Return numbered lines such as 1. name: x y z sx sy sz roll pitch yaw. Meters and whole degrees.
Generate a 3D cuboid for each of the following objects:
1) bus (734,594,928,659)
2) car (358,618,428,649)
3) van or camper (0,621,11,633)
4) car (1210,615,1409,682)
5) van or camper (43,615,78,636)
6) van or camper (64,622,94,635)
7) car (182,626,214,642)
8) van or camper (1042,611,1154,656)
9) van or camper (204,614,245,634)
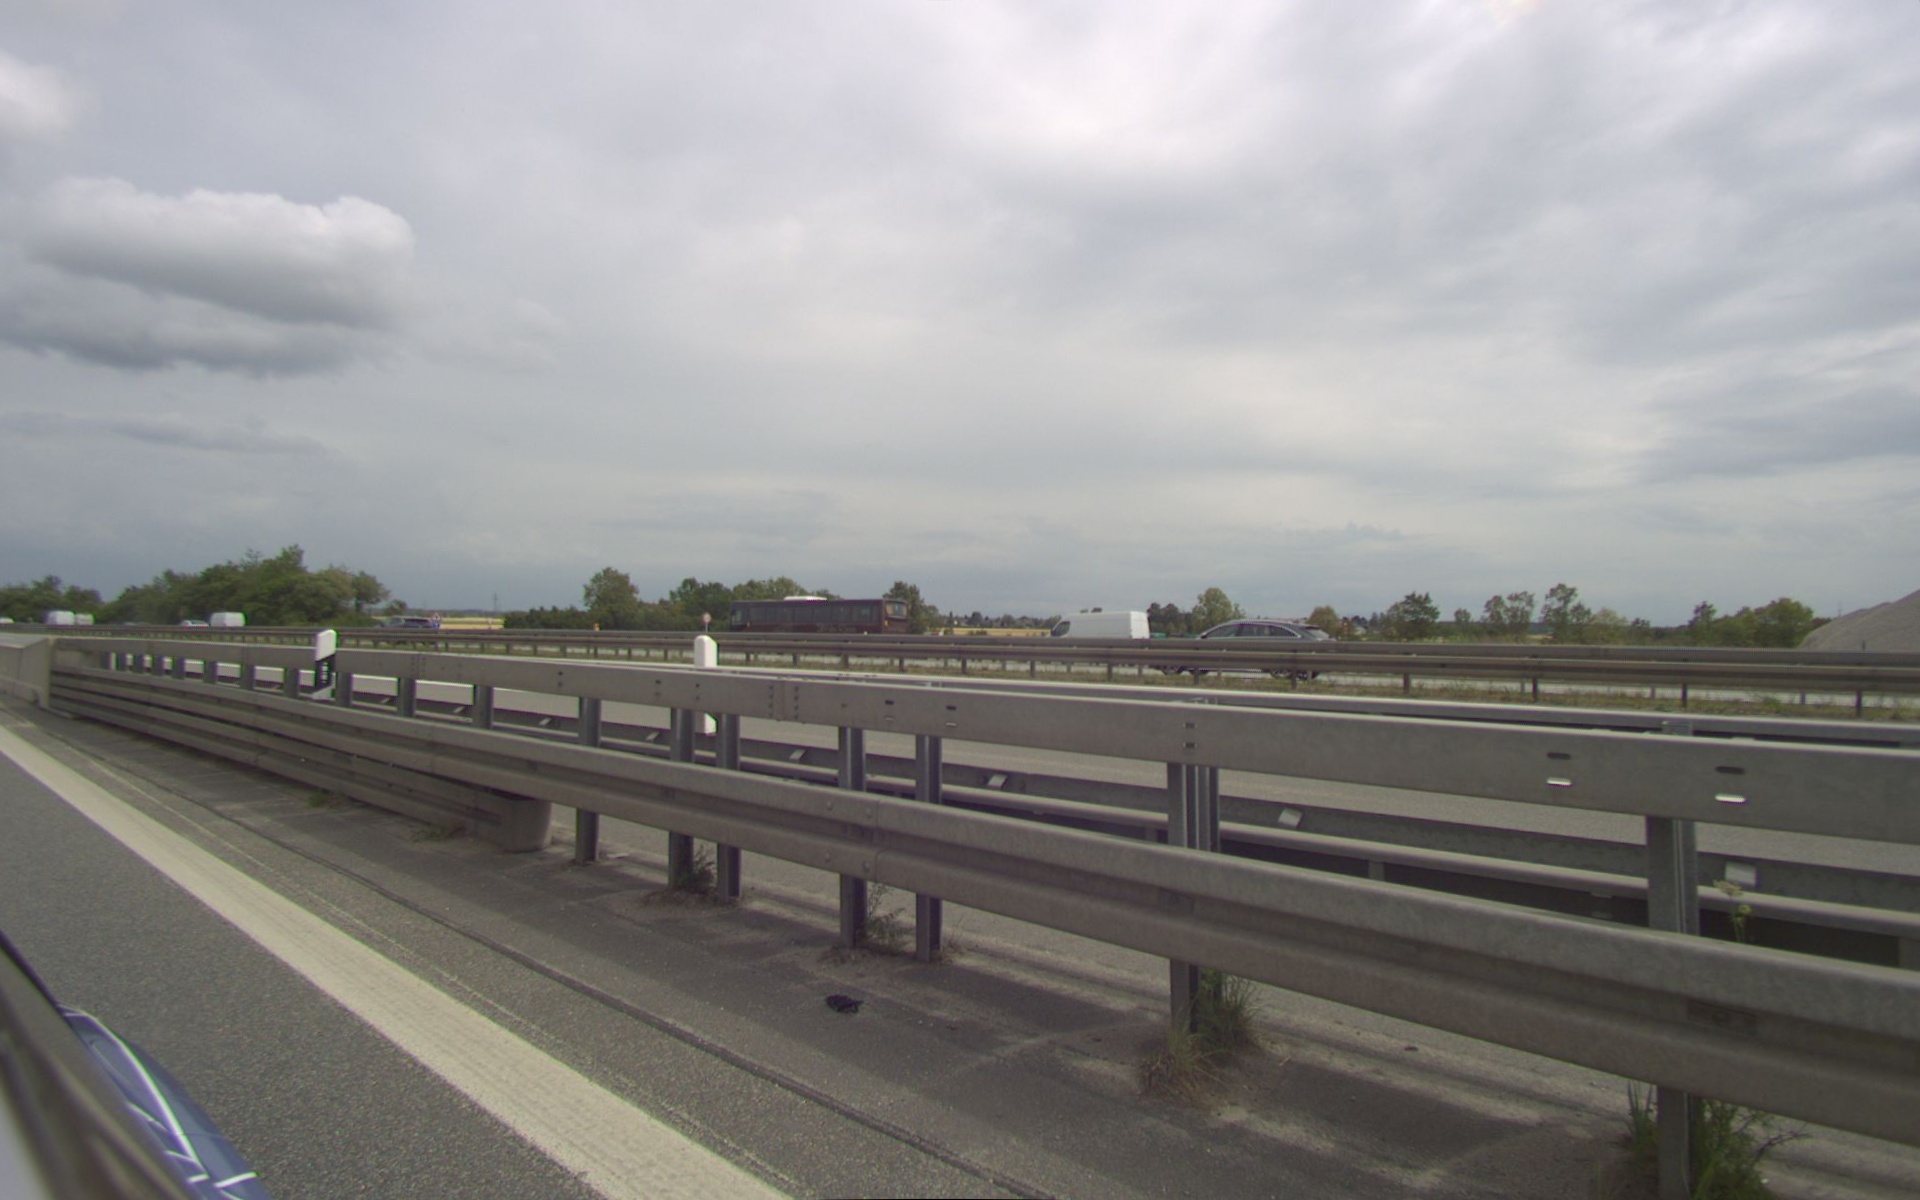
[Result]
1. bus: -7.899 1.515 59.858 12.971 3.469 3.184 -1 -1 38
2. car: -31.350 1.825 55.933 3.994 1.674 1.975 -1 -1 38
3. van or camper: -146.570 4.159 154.426 4.343 1.843 1.974 -1 -1 40
4. car: 8.347 1.106 24.313 4.135 1.480 1.975 -1 -1 38
5. van or camper: -115.946 3.218 130.416 6.895 2.639 2.166 -1 -1 38
6. van or camper: -136.047 4.352 156.221 6.266 2.029 2.215 -1 -1 37
7. car: -69.635 3.096 92.444 3.997 1.475 1.507 -1 -1 41
8. van or camper: 6.475 1.546 47.778 4.877 2.029 1.974 -1 -1 38
9. van or camper: -83.535 2.752 114.931 5.801 2.188 2.166 -1 -1 38
